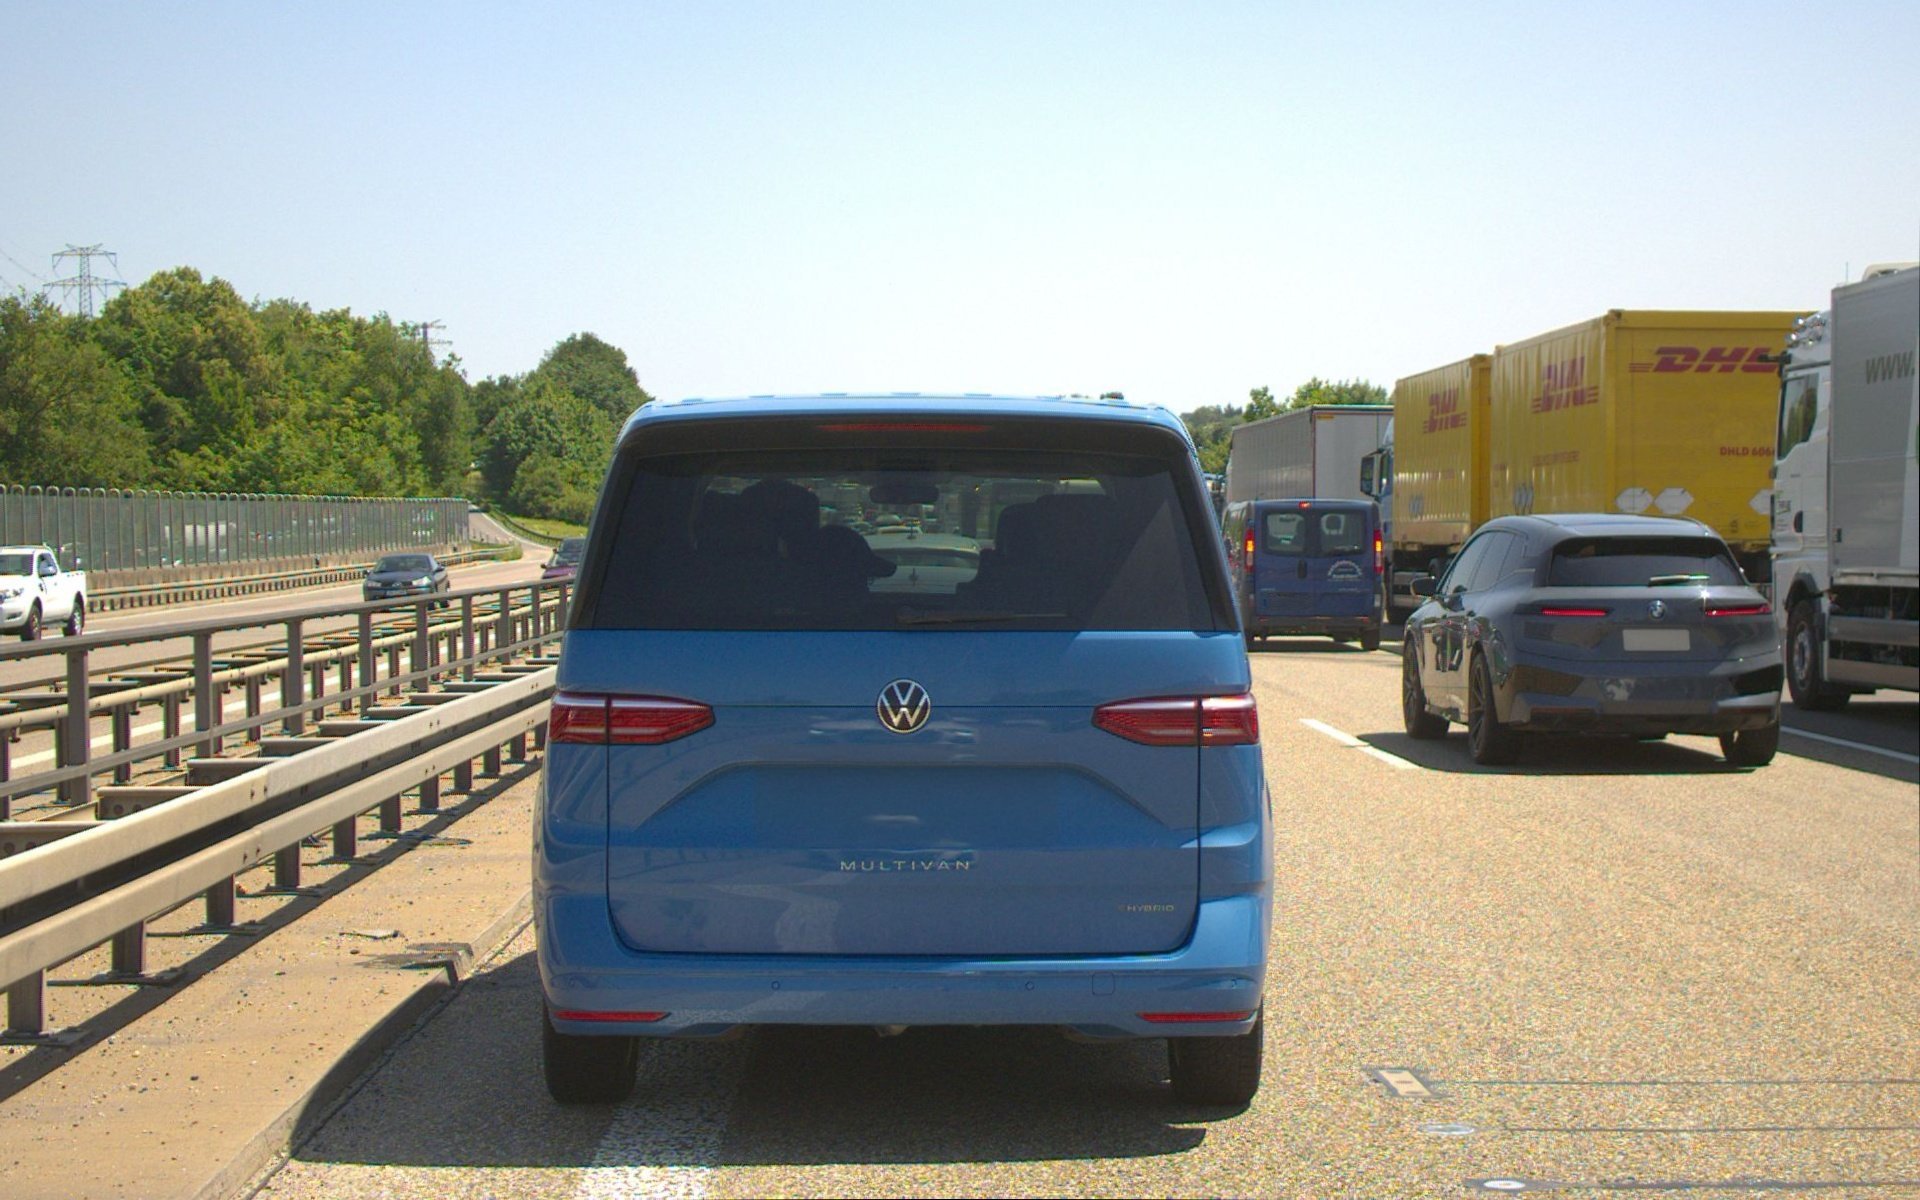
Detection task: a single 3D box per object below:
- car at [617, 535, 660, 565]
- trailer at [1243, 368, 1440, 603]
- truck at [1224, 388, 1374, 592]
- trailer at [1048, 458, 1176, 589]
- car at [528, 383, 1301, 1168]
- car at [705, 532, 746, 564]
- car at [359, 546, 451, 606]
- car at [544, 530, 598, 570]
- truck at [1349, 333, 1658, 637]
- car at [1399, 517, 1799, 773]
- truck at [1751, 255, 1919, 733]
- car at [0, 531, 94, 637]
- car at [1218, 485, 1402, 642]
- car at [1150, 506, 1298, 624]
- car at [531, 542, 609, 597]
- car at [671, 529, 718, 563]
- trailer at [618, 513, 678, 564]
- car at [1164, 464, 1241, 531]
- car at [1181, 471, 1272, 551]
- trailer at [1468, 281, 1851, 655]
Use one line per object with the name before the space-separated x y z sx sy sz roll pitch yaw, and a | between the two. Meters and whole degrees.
car | -16.325 -2.540 174.811 1.775 1.403 4.683 -2 1 -1
trailer | 7.821 -2.322 71.907 2.637 4.501 11.302 1 1 -1
truck | 7.735 -2.482 79.268 2.667 4.469 6.850 1 1 0
trailer | 3.636 -1.844 84.559 2.569 2.980 10.663 1 1 0
car | -0.130 0.386 10.238 1.820 1.851 4.075 1 1 -1
car | -11.725 -2.620 172.398 1.668 1.443 4.000 -3 1 1
car | -13.765 -0.609 85.437 1.597 1.345 4.180 -2 1 -1
car | -15.622 -2.018 138.189 1.729 1.486 4.420 -2 1 -1
truck | 8.256 -1.715 53.800 2.836 4.228 11.011 1 1 -1
car | 4.370 0.242 24.190 1.962 1.639 4.293 0 1 -1
truck | 8.643 -0.802 25.827 2.656 3.635 11.012 0 1 -1
car | -17.764 -0.340 64.097 1.993 1.878 5.256 0 1 -1
car | 4.594 -0.505 45.699 1.962 1.986 4.293 0 1 -1
car | 4.156 -0.574 54.633 1.993 1.809 4.000 0 1 -1
car | -10.163 -0.810 89.846 1.597 1.313 4.342 -2 1 -1
car | -11.804 -2.380 152.919 1.791 1.473 3.989 -1 1 0
trailer | -16.348 -3.219 180.541 2.493 2.540 6.774 -2 1 -1
car | 7.525 -3.171 106.989 1.993 2.007 4.461 -1 1 -1
car | 6.924 -2.284 89.523 1.993 2.007 4.000 1 1 -1
trailer | 8.652 -1.568 43.757 2.864 4.224 9.012 1 1 -1
